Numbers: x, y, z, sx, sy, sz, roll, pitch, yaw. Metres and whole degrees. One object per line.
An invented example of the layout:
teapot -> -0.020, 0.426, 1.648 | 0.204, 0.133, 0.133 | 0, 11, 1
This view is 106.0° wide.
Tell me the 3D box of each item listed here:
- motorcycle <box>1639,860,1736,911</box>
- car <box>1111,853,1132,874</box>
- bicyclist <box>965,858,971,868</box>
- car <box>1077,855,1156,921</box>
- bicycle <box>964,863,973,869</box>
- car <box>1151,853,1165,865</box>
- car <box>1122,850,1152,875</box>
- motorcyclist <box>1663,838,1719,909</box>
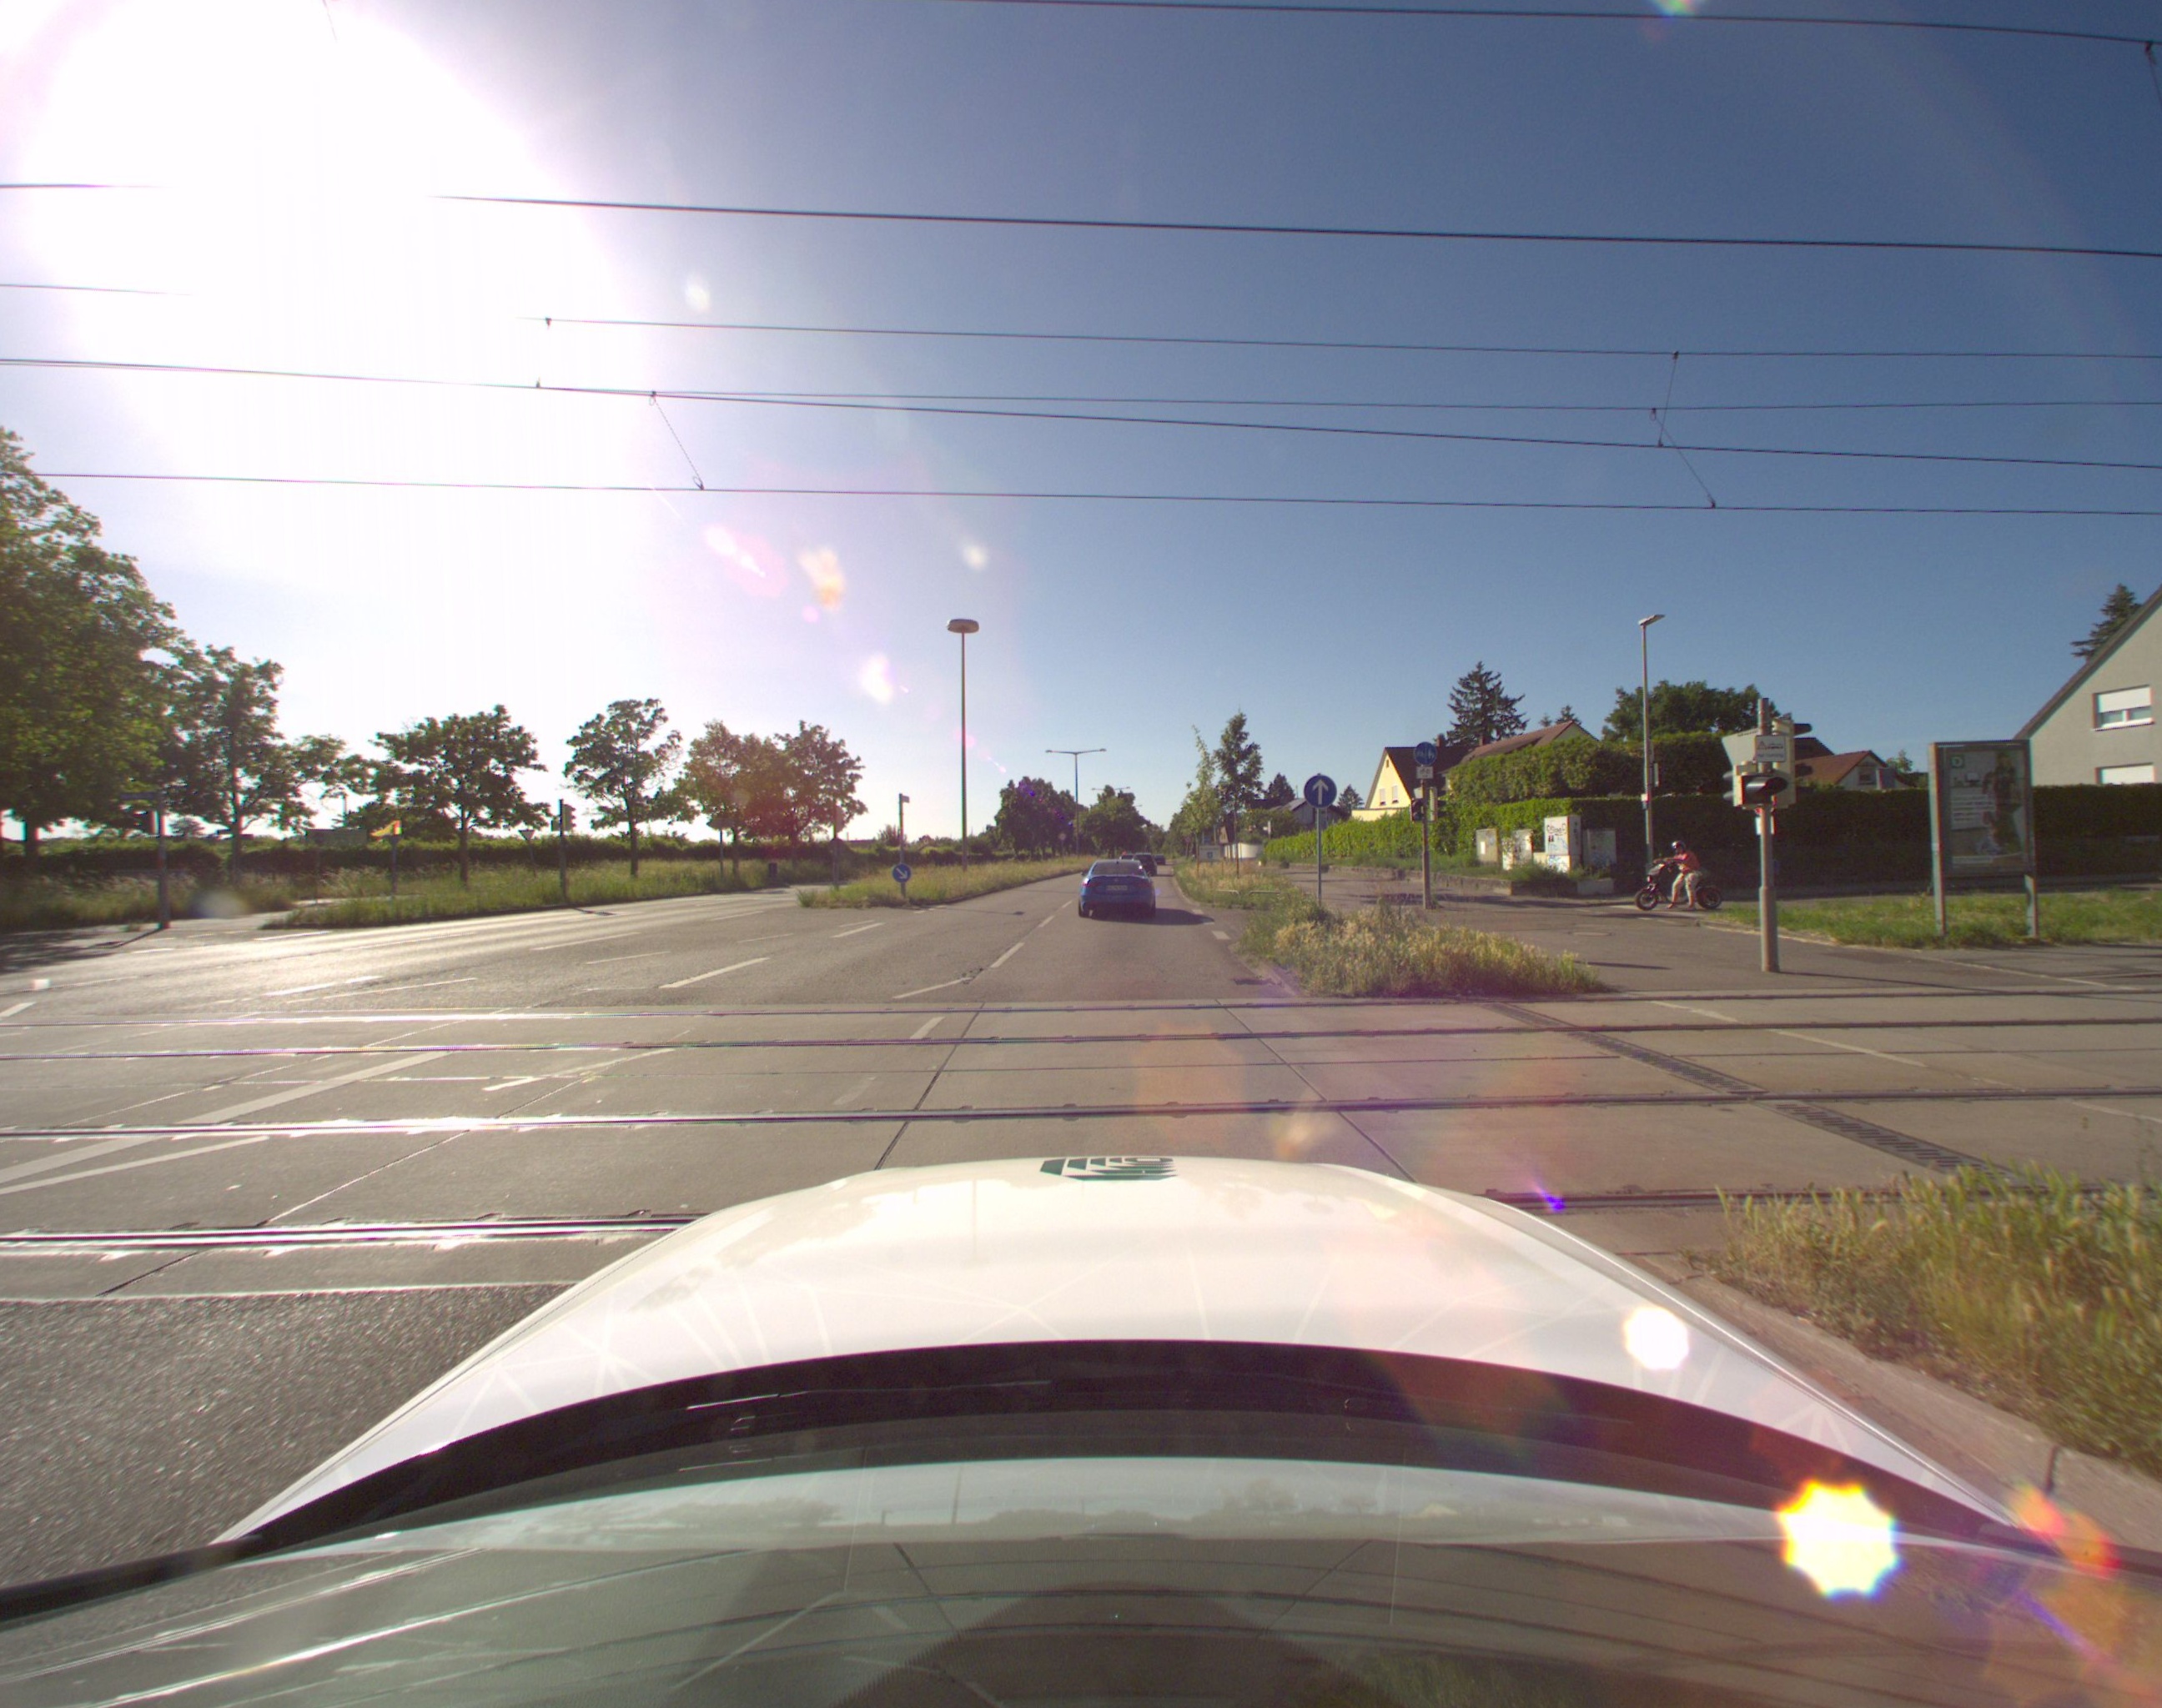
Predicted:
motorcycle -> 13.642, 0.695, 18.338 | 1.747, 1.071, 0.452 | -2, 0, 5
car -> 4.094, 0.900, 81.517 | 1.784, 2.013, 4.007 | -1, 0, 6
bicyclist -> -14.678, 1.189, 106.007 | 0.579, 1.257, 0.578 | -1, 0, 13
car -> 0.995, 0.805, 21.279 | 1.830, 1.474, 4.190 | -1, 1, 4
bicycle -> -14.643, 1.594, 106.126 | 0.561, 0.695, 1.882 | -1, 0, 13
car -> 10.184, 0.629, 107.531 | 1.652, 1.579, 3.816 | 0, 0, 6
car -> 3.771, 0.563, 55.018 | 1.908, 1.579, 4.185 | -1, 0, 2
motorcyclist -> 13.769, 0.435, 18.397 | 0.690, 1.558, 0.701 | -2, 0, 5
